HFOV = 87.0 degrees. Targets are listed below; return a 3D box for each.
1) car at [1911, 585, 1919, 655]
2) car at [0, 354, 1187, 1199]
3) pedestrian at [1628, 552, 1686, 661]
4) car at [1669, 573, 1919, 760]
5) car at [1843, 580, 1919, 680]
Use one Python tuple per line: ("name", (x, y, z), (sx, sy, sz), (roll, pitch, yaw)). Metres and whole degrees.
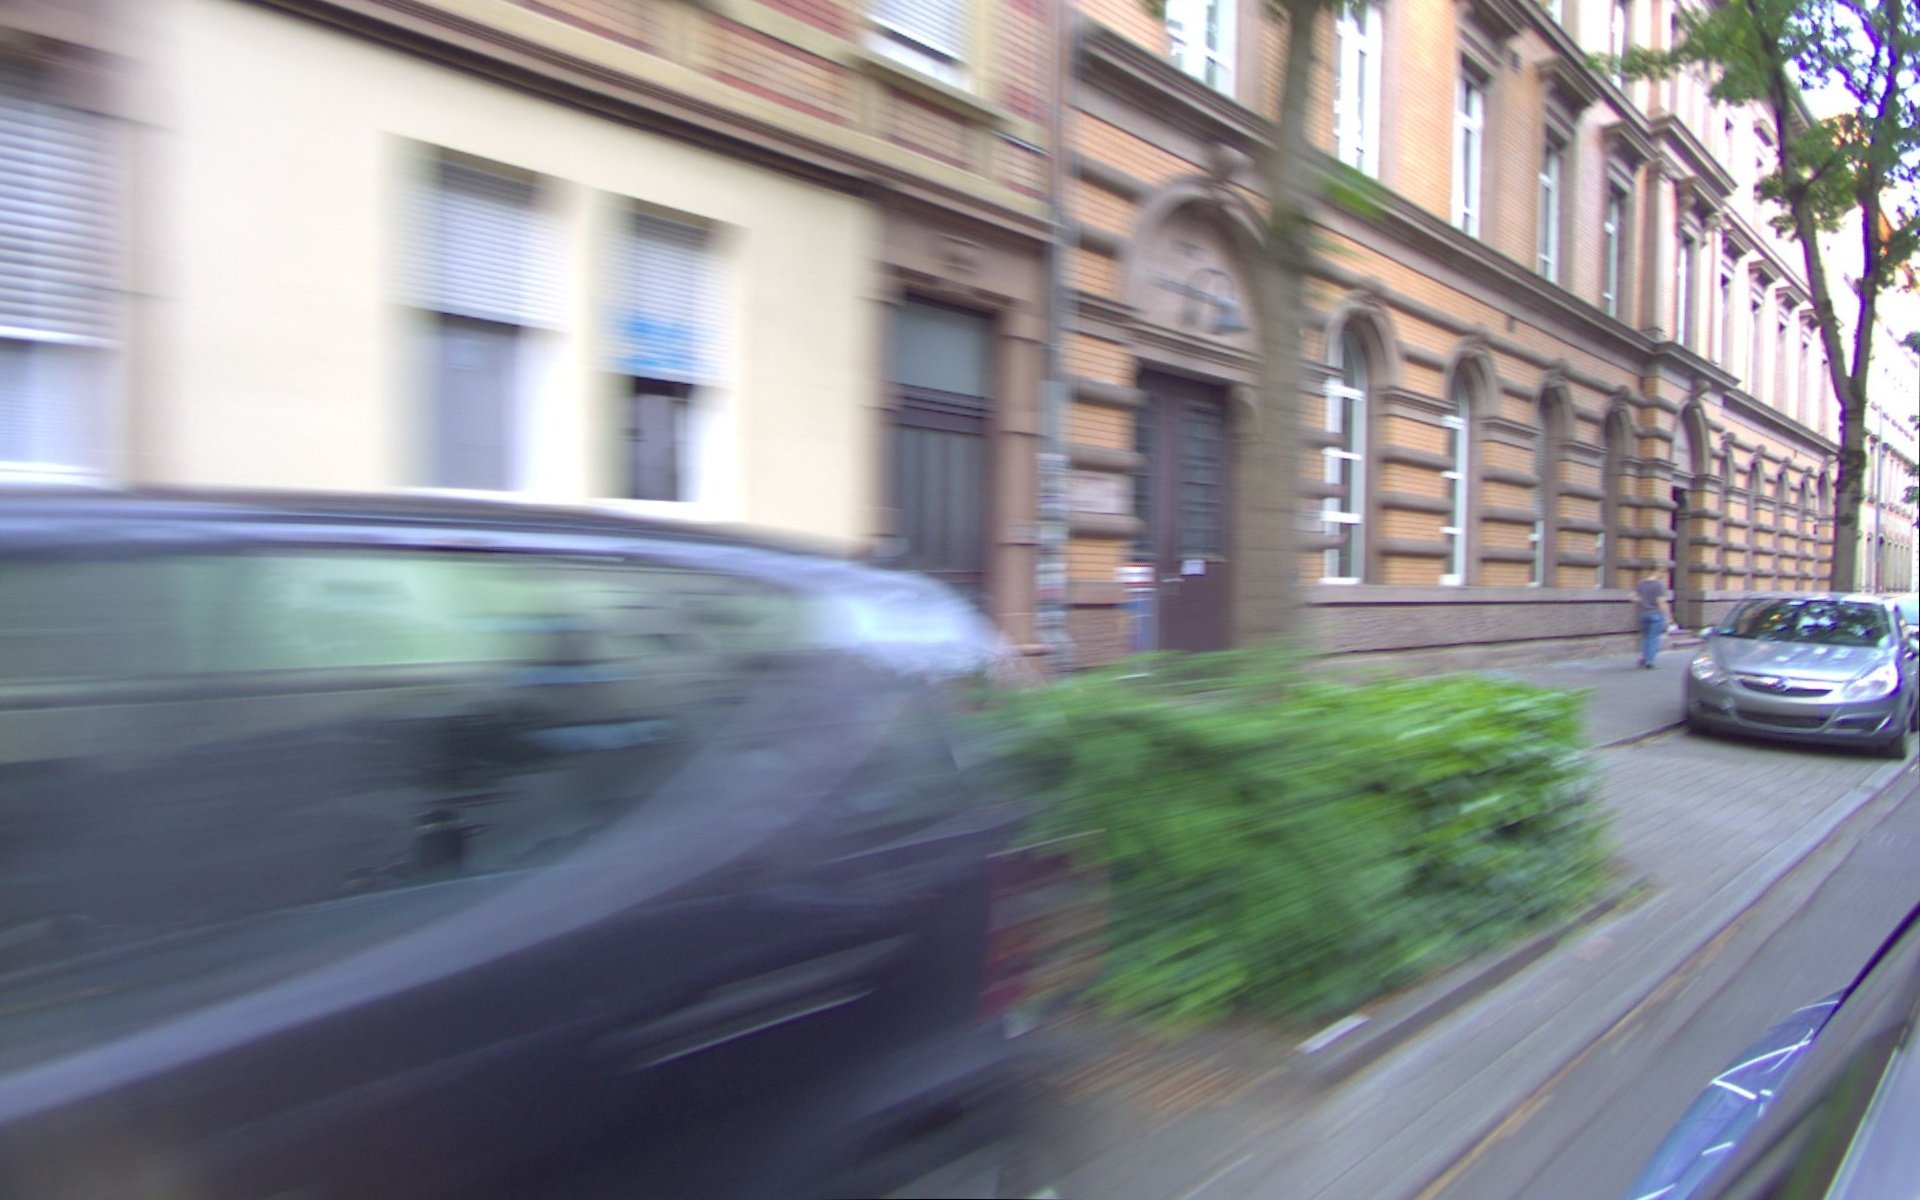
("car", (21.691, 0.417, 21.524), (4.566, 1.418, 1.697), (0, 2, -42))
("car", (-1.462, 0.552, 1.358), (3.702, 1.578, 1.614), (0, 2, -43))
("pedestrian", (10.932, 0.098, 15.870), (0.522, 1.669, 0.628), (0, 1, -40))
("car", (8.864, 0.528, 10.443), (3.933, 1.500, 1.700), (0, 4, -43))
("car", (16.064, 0.438, 16.660), (4.141, 1.467, 1.725), (-1, 3, -41))
